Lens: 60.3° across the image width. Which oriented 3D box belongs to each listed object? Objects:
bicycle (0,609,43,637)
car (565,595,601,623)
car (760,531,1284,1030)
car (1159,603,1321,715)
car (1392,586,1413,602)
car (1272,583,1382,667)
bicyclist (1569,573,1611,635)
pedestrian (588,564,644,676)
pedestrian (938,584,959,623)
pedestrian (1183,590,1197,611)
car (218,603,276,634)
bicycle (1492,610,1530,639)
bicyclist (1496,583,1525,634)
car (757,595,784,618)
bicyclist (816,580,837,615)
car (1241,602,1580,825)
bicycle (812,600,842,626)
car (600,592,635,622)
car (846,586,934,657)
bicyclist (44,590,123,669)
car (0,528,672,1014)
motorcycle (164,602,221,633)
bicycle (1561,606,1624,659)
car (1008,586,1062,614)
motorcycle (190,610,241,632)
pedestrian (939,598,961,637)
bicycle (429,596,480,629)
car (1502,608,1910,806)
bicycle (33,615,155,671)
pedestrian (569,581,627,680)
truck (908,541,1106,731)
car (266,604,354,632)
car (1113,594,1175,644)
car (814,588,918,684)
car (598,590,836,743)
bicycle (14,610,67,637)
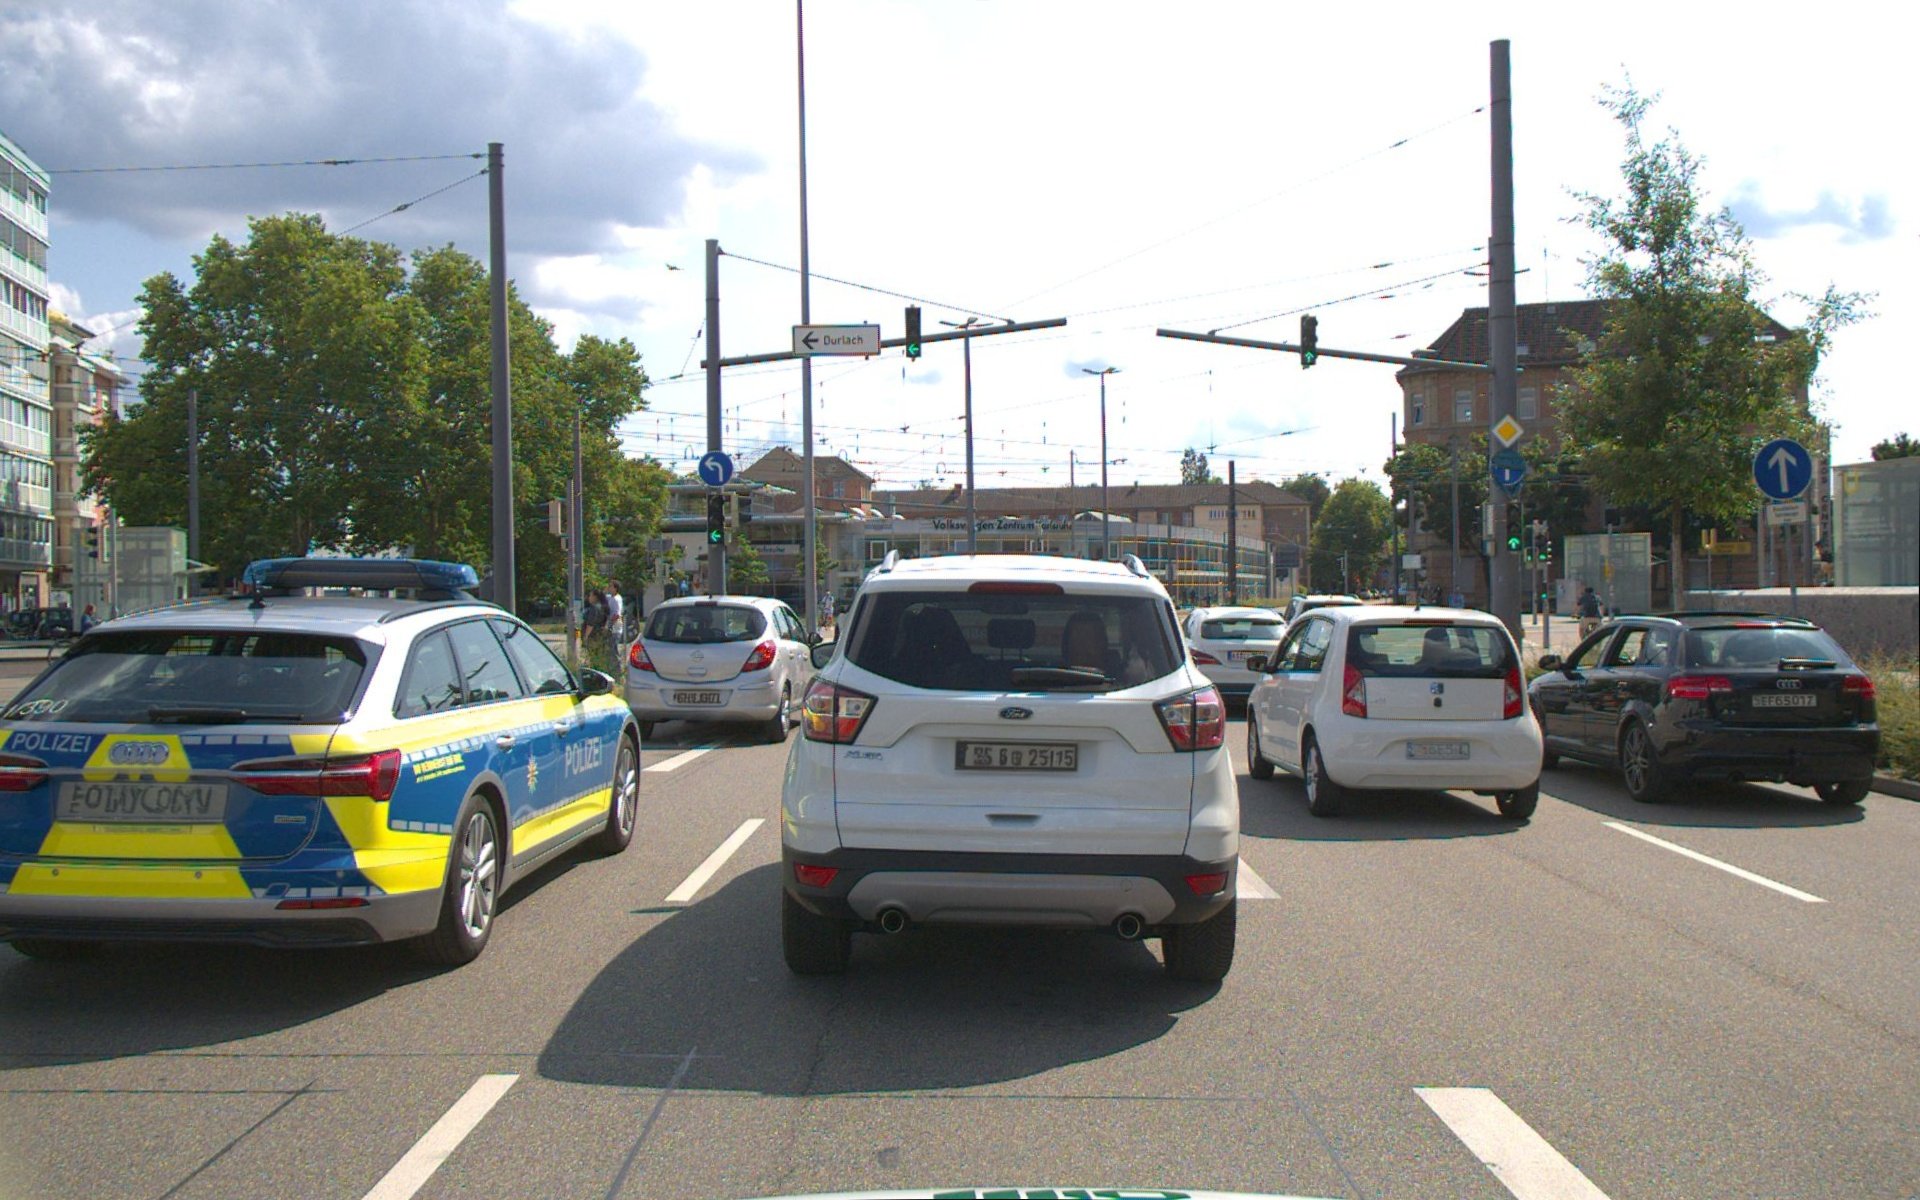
[{"bbox_3d":[-40.906,0.997,71.846,1.776,1.167,0.792,0,0,-19],"label":"bicycle"},{"bbox_3d":[-28.087,0.661,123.309,1.929,1.971,4.226,-2,-1,-5],"label":"car"},{"bbox_3d":[0.307,0.618,7.677,1.789,1.693,3.957,1,0,3],"label":"car"},{"bbox_3d":[3.856,0.769,23.326,1.811,1.444,3.680,0,0,2],"label":"car"},{"bbox_3d":[45.381,-0.607,169.443,1.798,1.681,4.001,0,-1,19],"label":"car"},{"bbox_3d":[7.755,0.514,35.247,1.797,1.681,4.002,0,0,5],"label":"car"},{"bbox_3d":[12.897,0.074,33.878,0.621,1.241,0.925,-2,0,11],"label":"bicyclist"},{"bbox_3d":[-6.130,0.350,29.461,0.830,1.950,0.692,-1,-1,-1],"label":"pedestrian"},{"bbox_3d":[-0.538,0.175,76.481,0.904,1.774,0.589,1,-1,5],"label":"pedestrian"},{"bbox_3d":[19.971,0.027,143.687,0.860,1.767,0.873,1,-1,35],"label":"pedestrian"},{"bbox_3d":[-35.627,0.936,82.746,1.872,1.438,3.987,-1,-1,-12],"label":"car"},{"bbox_3d":[16.096,0.710,48.326,0.572,0.789,1.621,-1,0,1],"label":"bicycle"},{"bbox_3d":[16.070,0.256,48.318,0.595,1.476,0.774,-1,0,1],"label":"bicyclist"},{"bbox_3d":[-13.925,0.473,121.617,1.783,1.560,3.913,-2,-1,-5],"label":"car"},{"bbox_3d":[-6.474,-0.124,80.211,0.743,1.712,0.761,-2,0,14],"label":"bicyclist"},{"bbox_3d":[3.390,0.770,13.204,1.615,1.446,4.000,-1,0,0],"label":"car"},{"bbox_3d":[-6.444,0.610,80.243,0.743,1.213,2.152,-2,0,14],"label":"bicycle"},{"bbox_3d":[-25.480,0.537,123.093,1.955,2.049,4.226,-2,-1,-5],"label":"car"},{"bbox_3d":[-1.660,0.488,39.722,1.998,1.606,4.537,0,0,-2],"label":"car"},{"bbox_3d":[-20.151,0.676,38.029,1.271,1.761,0.994,-1,0,-3],"label":"bicyclist"},{"bbox_3d":[-2.696,0.563,7.803,1.841,1.595,4.615,-1,0,0],"label":"car"},{"bbox_3d":[-33.102,0.760,71.340,2.165,1.259,0.906,-1,1,17],"label":"motorcycle"},{"bbox_3d":[12.942,0.652,33.909,0.829,0.987,1.963,-3,0,11],"label":"bicycle"},{"bbox_3d":[4.280,-0.034,93.590,1.860,1.487,3.969,-2,0,21],"label":"car"},{"bbox_3d":[-34.267,0.955,76.165,0.795,0.933,2.037,0,1,36],"label":"motorcycle"},{"bbox_3d":[-0.470,0.822,77.530,0.904,1.774,0.589,1,-1,6],"label":"pedestrian"},{"bbox_3d":[-22.742,0.559,74.424,2.133,1.439,0.809,0,0,-16],"label":"bicycle"},{"bbox_3d":[6.050,0.783,13.986,1.663,1.396,4.133,0,0,1],"label":"car"},{"bbox_3d":[-19.900,0.975,38.045,2.248,1.209,0.994,-1,0,-4],"label":"bicycle"},{"bbox_3d":[-6.282,0.525,28.729,0.830,1.676,0.692,-1,-1,-1],"label":"pedestrian"},{"bbox_3d":[0.769,0.412,22.230,2.289,2.193,5.855,1,0,4],"label":"truck"},{"bbox_3d":[-33.763,0.947,85.915,3.907,1.350,1.632,-2,-1,-3],"label":"car"},{"bbox_3d":[5.533,0.562,49.838,1.810,1.444,3.681,0,0,6],"label":"car"},{"bbox_3d":[-1.641,0.601,30.067,1.727,1.595,4.525,-1,0,-2],"label":"car"},{"bbox_3d":[-2.579,0.656,18.501,1.809,1.500,4.002,1,0,4],"label":"car"},{"bbox_3d":[-40.660,1.024,73.154,1.914,1.167,0.792,0,0,-19],"label":"bicycle"}]
